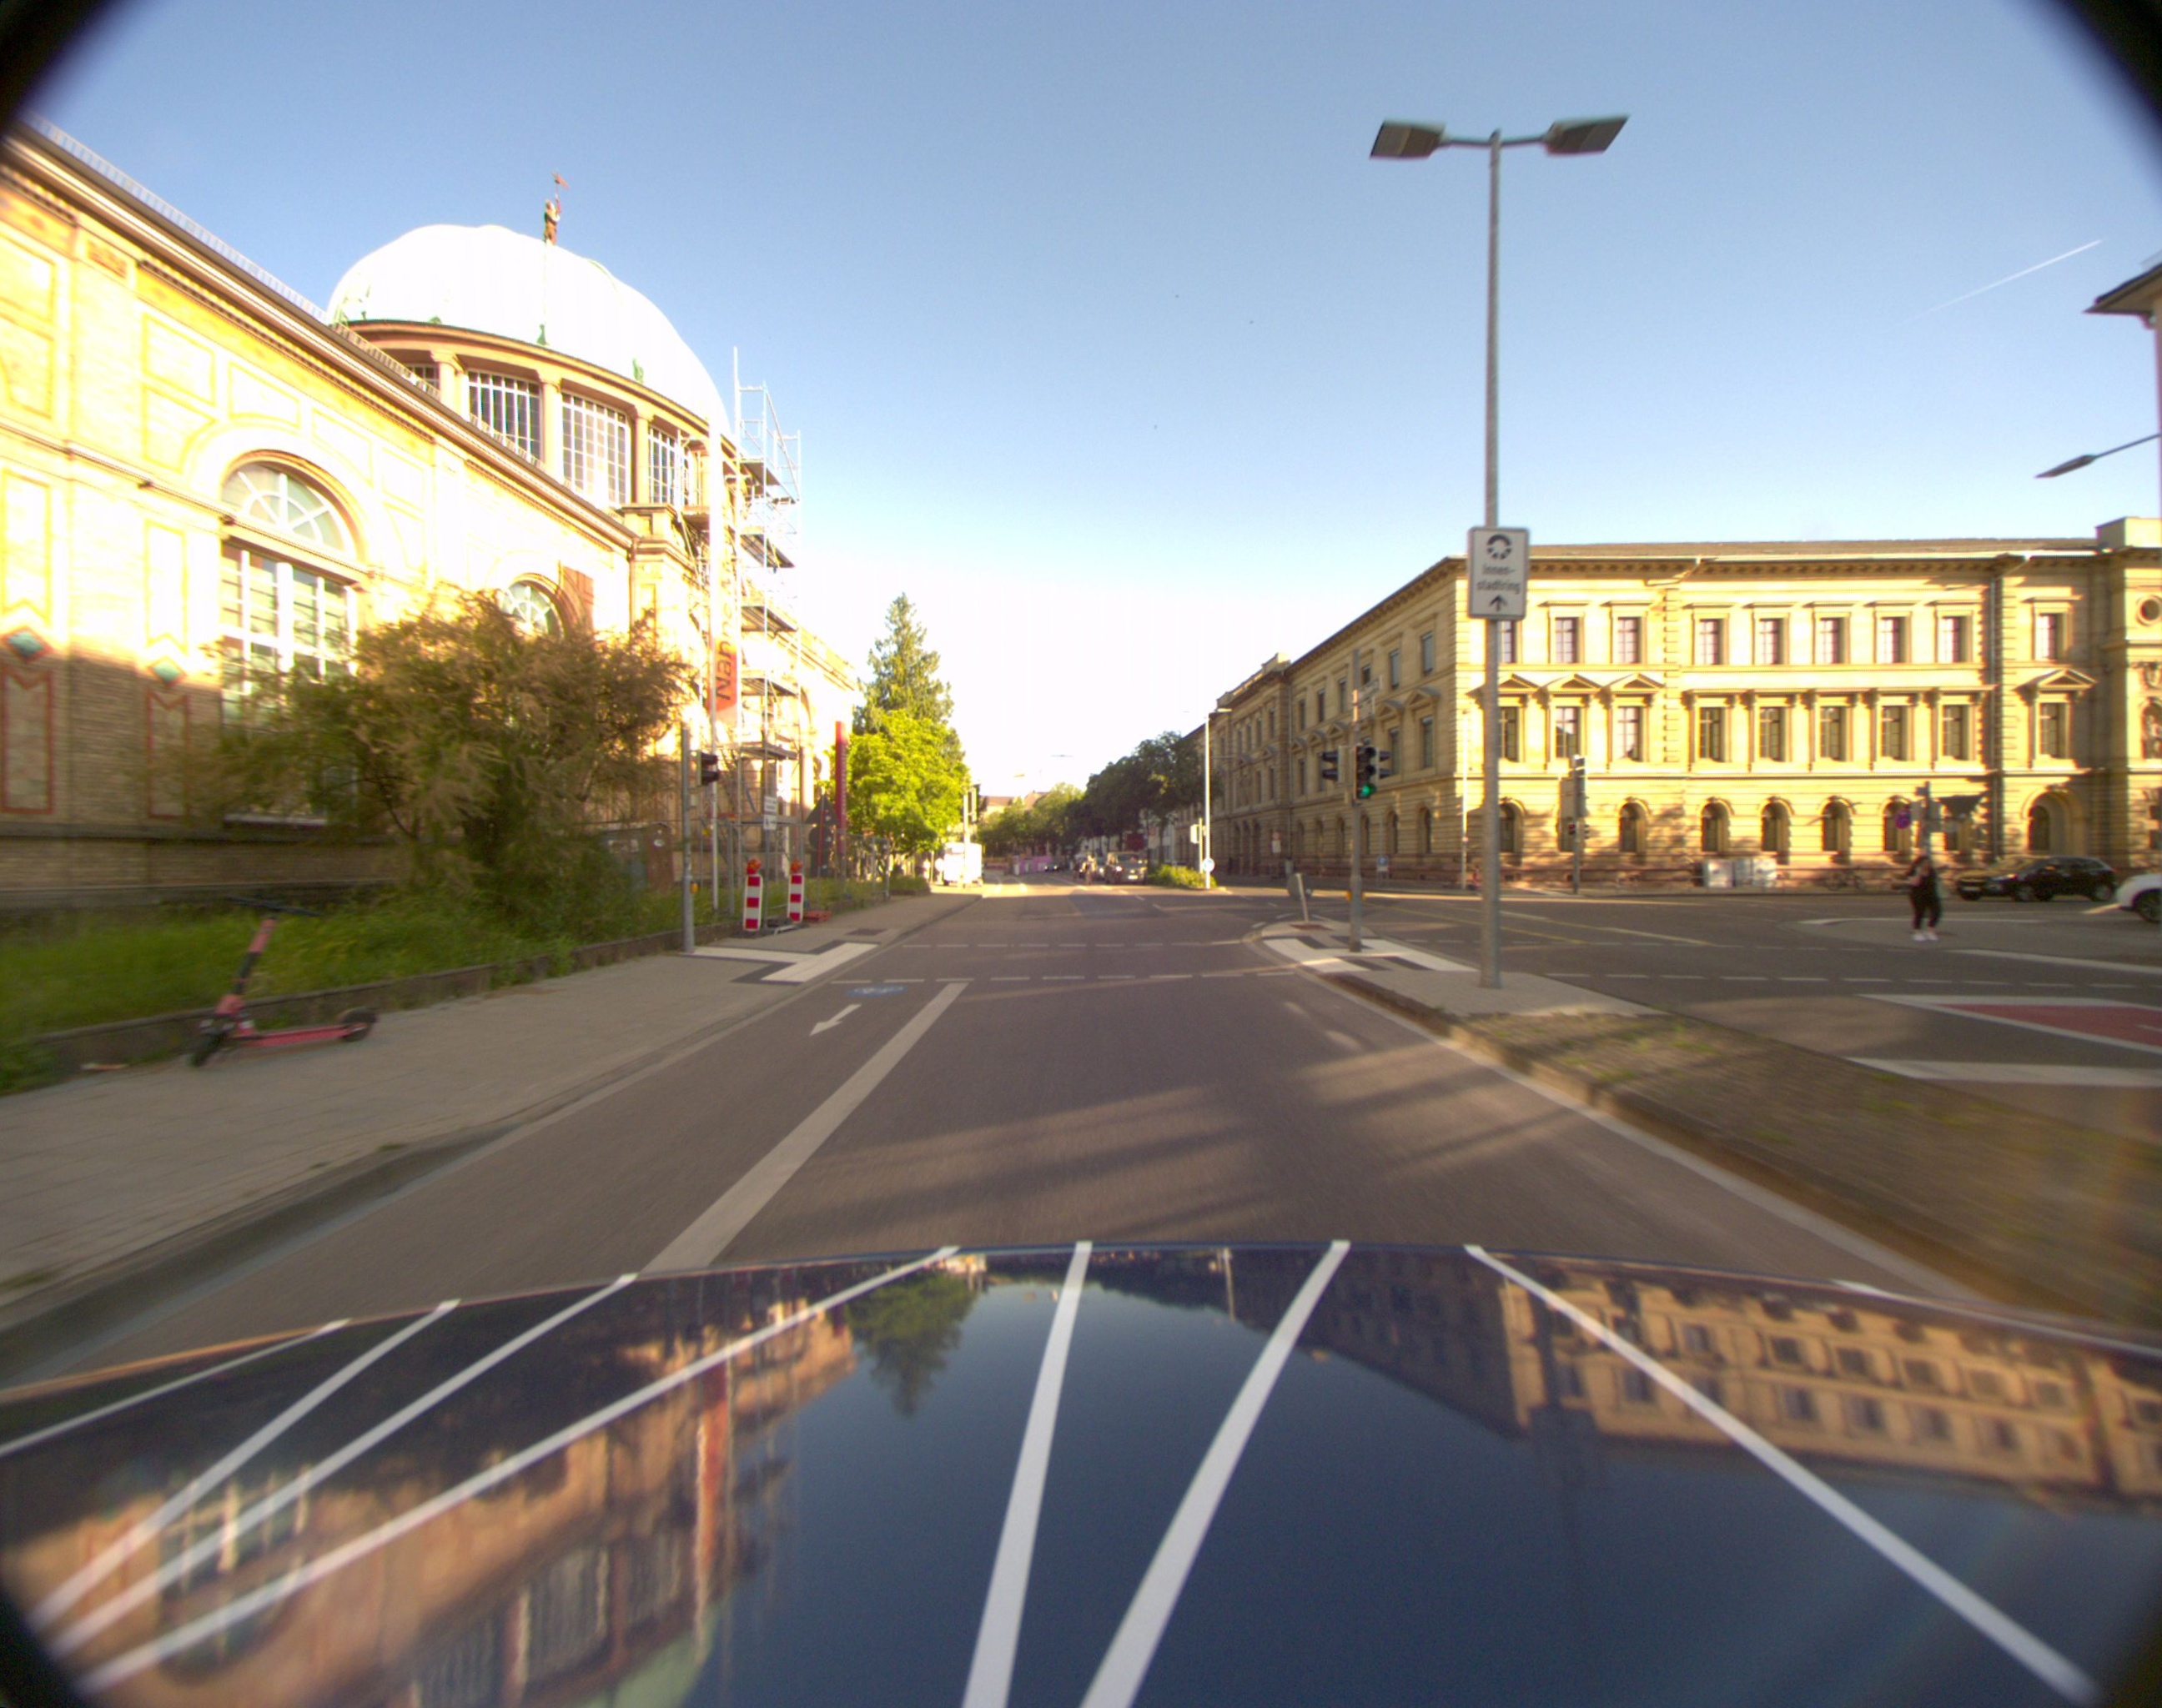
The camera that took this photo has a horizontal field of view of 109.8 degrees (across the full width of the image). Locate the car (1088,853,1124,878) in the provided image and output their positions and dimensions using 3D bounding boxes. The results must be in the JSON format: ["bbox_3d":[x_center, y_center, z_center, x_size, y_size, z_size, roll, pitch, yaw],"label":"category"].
[{"bbox_3d":[1.791,0.823,56.172,1.997,1.739,4.744,0,0,-7],"label":"car"}]

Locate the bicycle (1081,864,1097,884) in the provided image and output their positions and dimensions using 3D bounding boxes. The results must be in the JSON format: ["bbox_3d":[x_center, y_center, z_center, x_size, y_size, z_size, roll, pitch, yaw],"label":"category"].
[{"bbox_3d":[0.465,1.156,45.426,0.831,1.136,1.969,-1,0,-2],"label":"bicycle"}]

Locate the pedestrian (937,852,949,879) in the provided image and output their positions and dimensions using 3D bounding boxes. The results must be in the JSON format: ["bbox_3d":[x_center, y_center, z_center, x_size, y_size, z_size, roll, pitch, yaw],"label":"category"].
[{"bbox_3d":[-9.815,0.794,54.098,0.717,1.883,0.889,1,0,-7],"label":"pedestrian"}]

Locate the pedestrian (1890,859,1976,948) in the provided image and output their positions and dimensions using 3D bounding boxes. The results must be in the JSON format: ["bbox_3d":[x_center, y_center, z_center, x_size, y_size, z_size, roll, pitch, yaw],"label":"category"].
[{"bbox_3d":[15.814,0.904,14.120,0.633,1.574,0.818,-3,0,3],"label":"pedestrian"}]

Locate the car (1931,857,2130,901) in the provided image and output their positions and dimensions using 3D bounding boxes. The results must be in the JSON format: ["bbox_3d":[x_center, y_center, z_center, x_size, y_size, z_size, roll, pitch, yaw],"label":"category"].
[{"bbox_3d":[34.673,0.891,27.860,4.684,1.563,2.000,0,0,2],"label":"car"}]

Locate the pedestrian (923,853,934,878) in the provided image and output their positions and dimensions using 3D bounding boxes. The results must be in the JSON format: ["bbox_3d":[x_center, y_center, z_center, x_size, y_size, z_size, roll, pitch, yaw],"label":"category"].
[{"bbox_3d":[-10.835,0.813,53.865,0.684,1.691,0.693,1,0,-5],"label":"pedestrian"}]

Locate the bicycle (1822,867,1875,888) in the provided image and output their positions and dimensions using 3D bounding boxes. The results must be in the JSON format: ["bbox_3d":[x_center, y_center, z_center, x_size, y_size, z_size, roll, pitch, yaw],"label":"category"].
[{"bbox_3d":[35.342,1.089,34.980,1.829,0.961,0.575,0,0,2],"label":"bicycle"}]

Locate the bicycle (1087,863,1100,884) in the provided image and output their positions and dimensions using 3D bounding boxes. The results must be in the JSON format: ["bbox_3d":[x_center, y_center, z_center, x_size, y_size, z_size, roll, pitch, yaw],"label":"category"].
[{"bbox_3d":[0.689,1.081,42.882,0.644,1.148,2.076,-1,0,-2],"label":"bicycle"}]

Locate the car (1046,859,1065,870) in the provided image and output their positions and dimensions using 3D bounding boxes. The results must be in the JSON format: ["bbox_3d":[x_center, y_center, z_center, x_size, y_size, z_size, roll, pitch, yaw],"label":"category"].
[{"bbox_3d":[-3.128,1.323,94.409,1.552,1.288,3.641,3,0,10],"label":"car"}]

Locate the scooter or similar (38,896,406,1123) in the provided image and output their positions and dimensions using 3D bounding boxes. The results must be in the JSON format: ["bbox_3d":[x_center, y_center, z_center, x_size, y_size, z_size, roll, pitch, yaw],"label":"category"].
[{"bbox_3d":[-6.080,1.002,5.571,0.556,1.301,1.832,0,0,3],"label":"scooter or similar"}]

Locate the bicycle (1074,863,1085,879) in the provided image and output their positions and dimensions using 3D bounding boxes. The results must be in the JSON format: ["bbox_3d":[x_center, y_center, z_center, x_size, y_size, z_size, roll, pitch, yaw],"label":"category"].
[{"bbox_3d":[-0.084,1.213,54.324,0.671,1.066,1.752,-1,0,-3],"label":"bicycle"}]

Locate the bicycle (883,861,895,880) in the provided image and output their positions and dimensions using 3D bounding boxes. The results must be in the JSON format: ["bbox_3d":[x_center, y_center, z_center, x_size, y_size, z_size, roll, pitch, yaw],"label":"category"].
[{"bbox_3d":[-11.455,0.983,45.430,0.274,1.099,1.532,2,0,0],"label":"bicycle"}]

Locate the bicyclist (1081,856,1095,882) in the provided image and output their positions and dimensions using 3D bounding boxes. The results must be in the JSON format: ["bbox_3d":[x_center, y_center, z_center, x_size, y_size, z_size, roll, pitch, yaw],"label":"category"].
[{"bbox_3d":[0.417,0.903,45.855,0.805,1.598,0.825,0,0,-2],"label":"bicyclist"}]

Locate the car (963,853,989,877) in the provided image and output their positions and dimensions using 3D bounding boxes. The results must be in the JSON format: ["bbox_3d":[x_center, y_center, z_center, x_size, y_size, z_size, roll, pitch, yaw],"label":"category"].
[{"bbox_3d":[-9.006,0.876,64.690,2.021,1.934,5.476,-1,0,-9],"label":"car"}]

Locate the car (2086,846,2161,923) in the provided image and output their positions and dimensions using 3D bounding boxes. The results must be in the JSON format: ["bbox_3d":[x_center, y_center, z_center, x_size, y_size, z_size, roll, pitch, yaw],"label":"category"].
[{"bbox_3d":[24.752,0.661,15.623,1.999,1.676,4.614,0,0,-2],"label":"car"}]

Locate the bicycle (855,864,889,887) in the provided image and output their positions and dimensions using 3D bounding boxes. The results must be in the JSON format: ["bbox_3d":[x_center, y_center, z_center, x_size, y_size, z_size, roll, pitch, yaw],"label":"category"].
[{"bbox_3d":[-9.770,1.018,35.605,1.470,1.033,0.479,1,0,-4],"label":"bicycle"}]

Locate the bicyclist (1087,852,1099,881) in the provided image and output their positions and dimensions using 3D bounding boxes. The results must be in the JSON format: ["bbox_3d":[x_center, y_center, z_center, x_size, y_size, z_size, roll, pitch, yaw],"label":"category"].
[{"bbox_3d":[0.683,0.702,43.168,0.672,1.598,0.825,0,0,-2],"label":"bicyclist"}]

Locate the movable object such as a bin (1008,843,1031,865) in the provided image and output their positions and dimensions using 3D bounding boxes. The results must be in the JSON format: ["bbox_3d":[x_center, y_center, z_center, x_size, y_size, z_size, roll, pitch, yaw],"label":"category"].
[{"bbox_3d":[-9.094,0.020,111.824,3.172,3.281,4.383,0,0,-8],"label":"movable object such as a bin"}]

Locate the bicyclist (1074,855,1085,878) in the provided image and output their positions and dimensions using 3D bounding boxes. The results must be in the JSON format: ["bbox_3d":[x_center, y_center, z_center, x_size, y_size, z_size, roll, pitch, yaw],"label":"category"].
[{"bbox_3d":[-0.088,0.875,54.365,0.674,1.642,0.887,-1,0,-4],"label":"bicyclist"}]

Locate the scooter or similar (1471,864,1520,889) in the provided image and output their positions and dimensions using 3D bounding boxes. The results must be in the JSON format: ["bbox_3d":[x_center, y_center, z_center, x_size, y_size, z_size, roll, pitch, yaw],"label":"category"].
[{"bbox_3d":[19.713,1.063,36.168,2.028,1.181,0.457,0,0,25],"label":"scooter or similar"}]

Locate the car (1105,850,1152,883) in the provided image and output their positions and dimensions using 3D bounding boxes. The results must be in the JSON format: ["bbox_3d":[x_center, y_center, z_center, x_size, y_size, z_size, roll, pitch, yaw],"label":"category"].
[{"bbox_3d":[2.814,0.688,46.070,2.074,1.904,5.030,0,0,-5],"label":"car"}]

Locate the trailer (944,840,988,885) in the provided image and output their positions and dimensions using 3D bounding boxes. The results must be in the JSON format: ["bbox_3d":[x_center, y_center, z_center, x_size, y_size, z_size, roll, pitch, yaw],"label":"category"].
[{"bbox_3d":[-6.775,0.487,45.259,2.085,2.513,4.490,2,0,-3],"label":"trailer"}]
